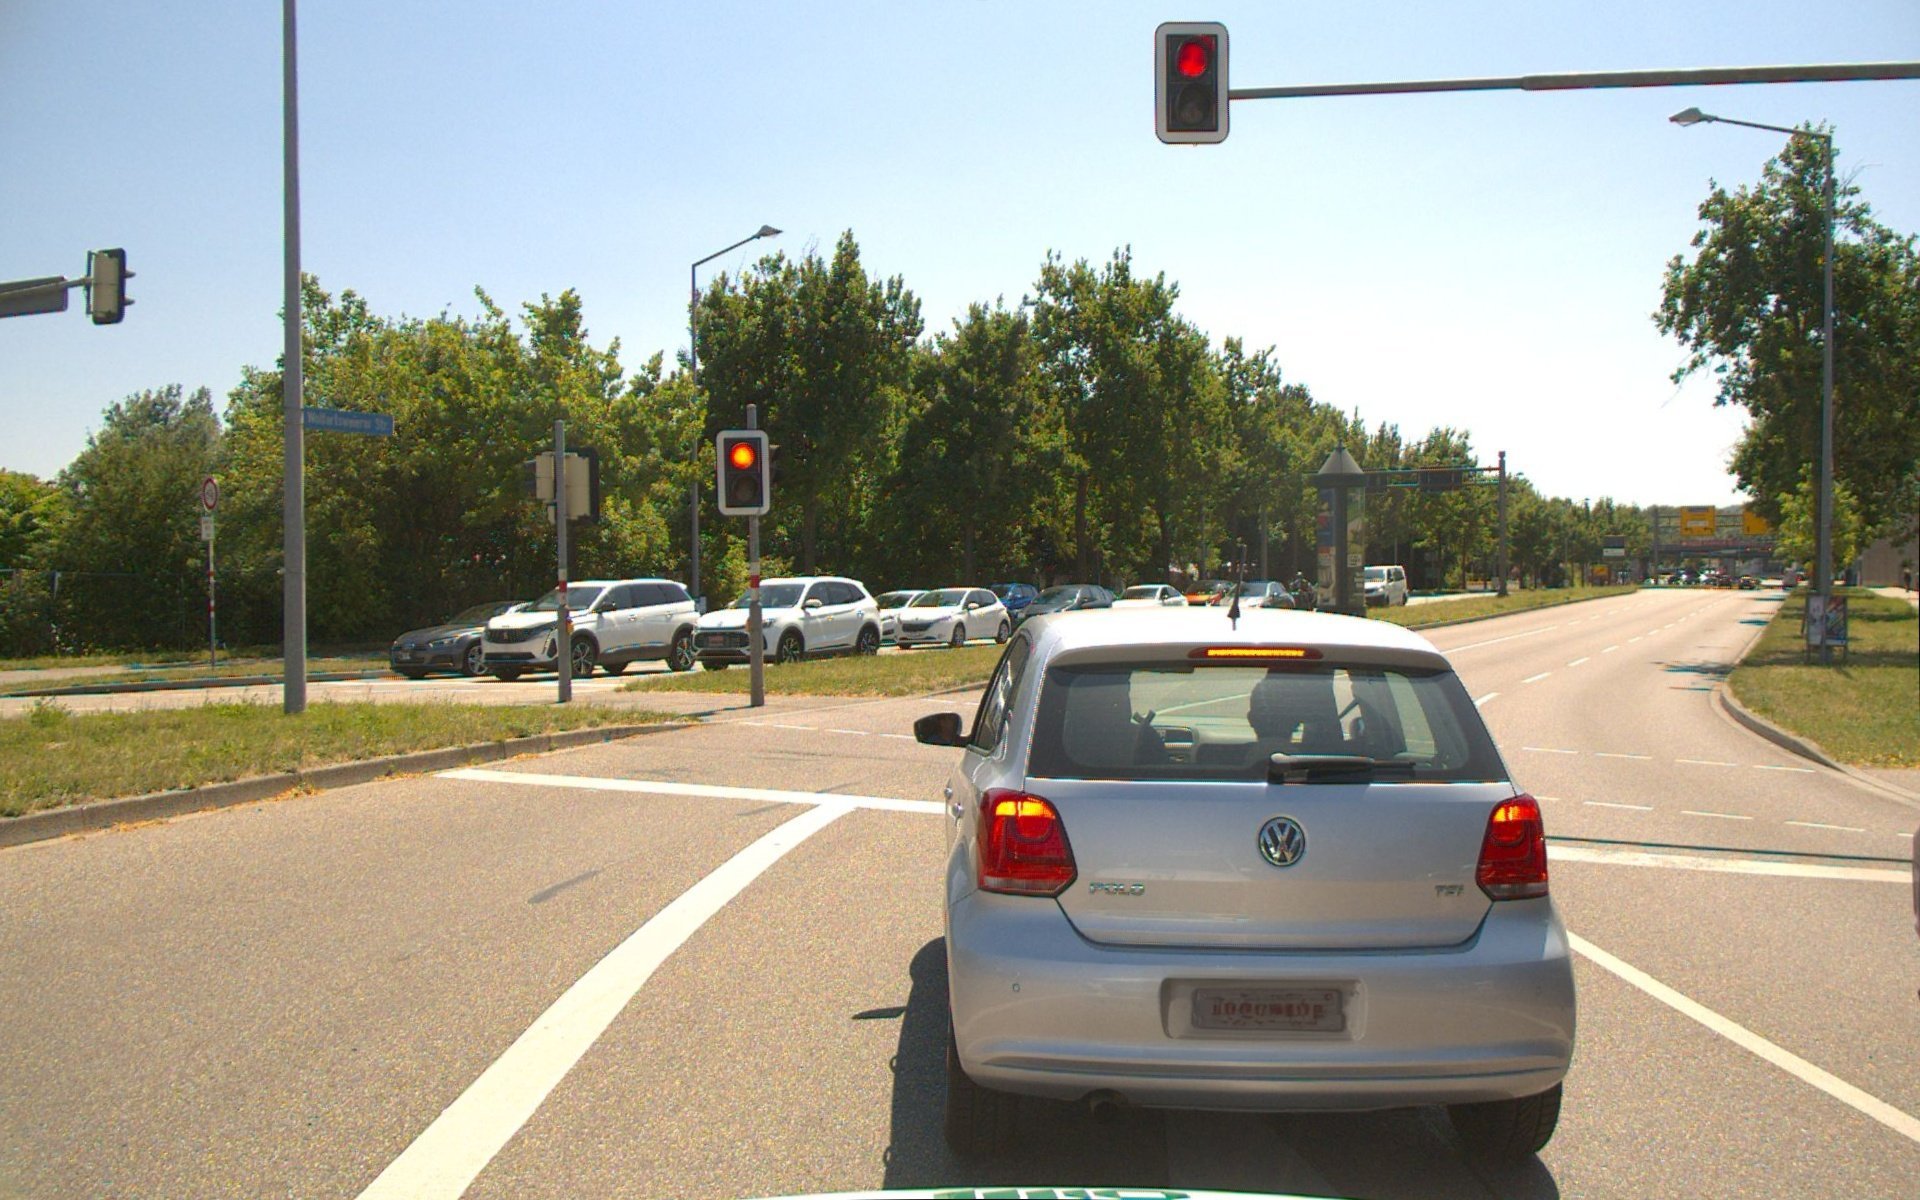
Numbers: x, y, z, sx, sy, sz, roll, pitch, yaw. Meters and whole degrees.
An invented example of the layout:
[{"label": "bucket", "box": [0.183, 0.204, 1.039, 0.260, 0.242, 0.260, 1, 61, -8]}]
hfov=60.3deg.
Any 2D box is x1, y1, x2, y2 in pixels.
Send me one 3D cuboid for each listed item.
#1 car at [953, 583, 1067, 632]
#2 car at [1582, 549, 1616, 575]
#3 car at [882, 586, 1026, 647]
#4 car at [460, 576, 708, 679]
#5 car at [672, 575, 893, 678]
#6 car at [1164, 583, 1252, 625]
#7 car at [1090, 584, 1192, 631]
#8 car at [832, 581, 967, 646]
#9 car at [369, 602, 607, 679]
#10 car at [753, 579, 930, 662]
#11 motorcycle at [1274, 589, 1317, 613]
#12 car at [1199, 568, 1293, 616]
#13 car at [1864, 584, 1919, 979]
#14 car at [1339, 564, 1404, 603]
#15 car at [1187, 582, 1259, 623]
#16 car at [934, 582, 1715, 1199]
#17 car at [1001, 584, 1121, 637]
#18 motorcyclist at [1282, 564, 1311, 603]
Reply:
[{"label": "car", "box": [1.620, 0.199, 51.702, 1.823, 1.447, 4.402, 0, 1, 28]}, {"label": "car", "box": [45.954, -2.741, 118.924, 1.766, 1.722, 4.136, -2, -1, 28]}, {"label": "car", "box": [-0.090, 0.385, 41.991, 1.823, 1.447, 4.402, 0, 1, 28]}, {"label": "car", "box": [-6.459, 0.417, 28.921, 1.823, 1.646, 4.402, 0, 1, 28]}, {"label": "car", "box": [-3.103, 0.413, 29.849, 1.823, 1.712, 4.402, 0, 1, 28]}, {"label": "car", "box": [9.055, 0.106, 60.163, 1.823, 1.447, 4.402, 0, 1, 28]}, {"label": "car", "box": [5.930, 0.214, 53.767, 1.823, 1.447, 4.402, 0, 1, 28]}, {"label": "car", "box": [-1.626, 0.334, 46.114, 1.823, 1.712, 4.402, 0, 1, 28]}, {"label": "car", "box": [-8.863, 0.707, 31.426, 1.823, 1.292, 4.402, 0, 1, 28]}, {"label": "car", "box": [-2.524, 0.392, 36.371, 1.823, 1.712, 4.402, 0, 1, 28]}, {"label": "motorcycle", "box": [14.090, 0.031, 69.403, 0.878, 0.969, 2.810, -2, -1, 30]}, {"label": "car", "box": [9.423, -0.271, 54.260, 1.932, 1.514, 3.995, 0, 1, 27]}, {"label": "car", "box": [4.434, 0.693, 4.211, 1.952, 1.443, 4.457, 0, 1, 2]}, {"label": "car", "box": [17.113, -0.688, 68.652, 1.826, 1.582, 3.996, 0, 1, 26]}, {"label": "car", "box": [10.262, 0.090, 64.309, 1.682, 1.500, 3.793, -2, -1, 27]}, {"label": "car", "box": [0.848, 0.675, 5.700, 1.739, 1.447, 4.001, 0, 1, 1]}, {"label": "car", "box": [2.975, 0.275, 47.812, 1.823, 1.447, 4.402, 0, 1, 28]}, {"label": "motorcyclist", "box": [14.144, -0.692, 69.541, 0.889, 1.614, 1.008, -2, -1, 30]}]
